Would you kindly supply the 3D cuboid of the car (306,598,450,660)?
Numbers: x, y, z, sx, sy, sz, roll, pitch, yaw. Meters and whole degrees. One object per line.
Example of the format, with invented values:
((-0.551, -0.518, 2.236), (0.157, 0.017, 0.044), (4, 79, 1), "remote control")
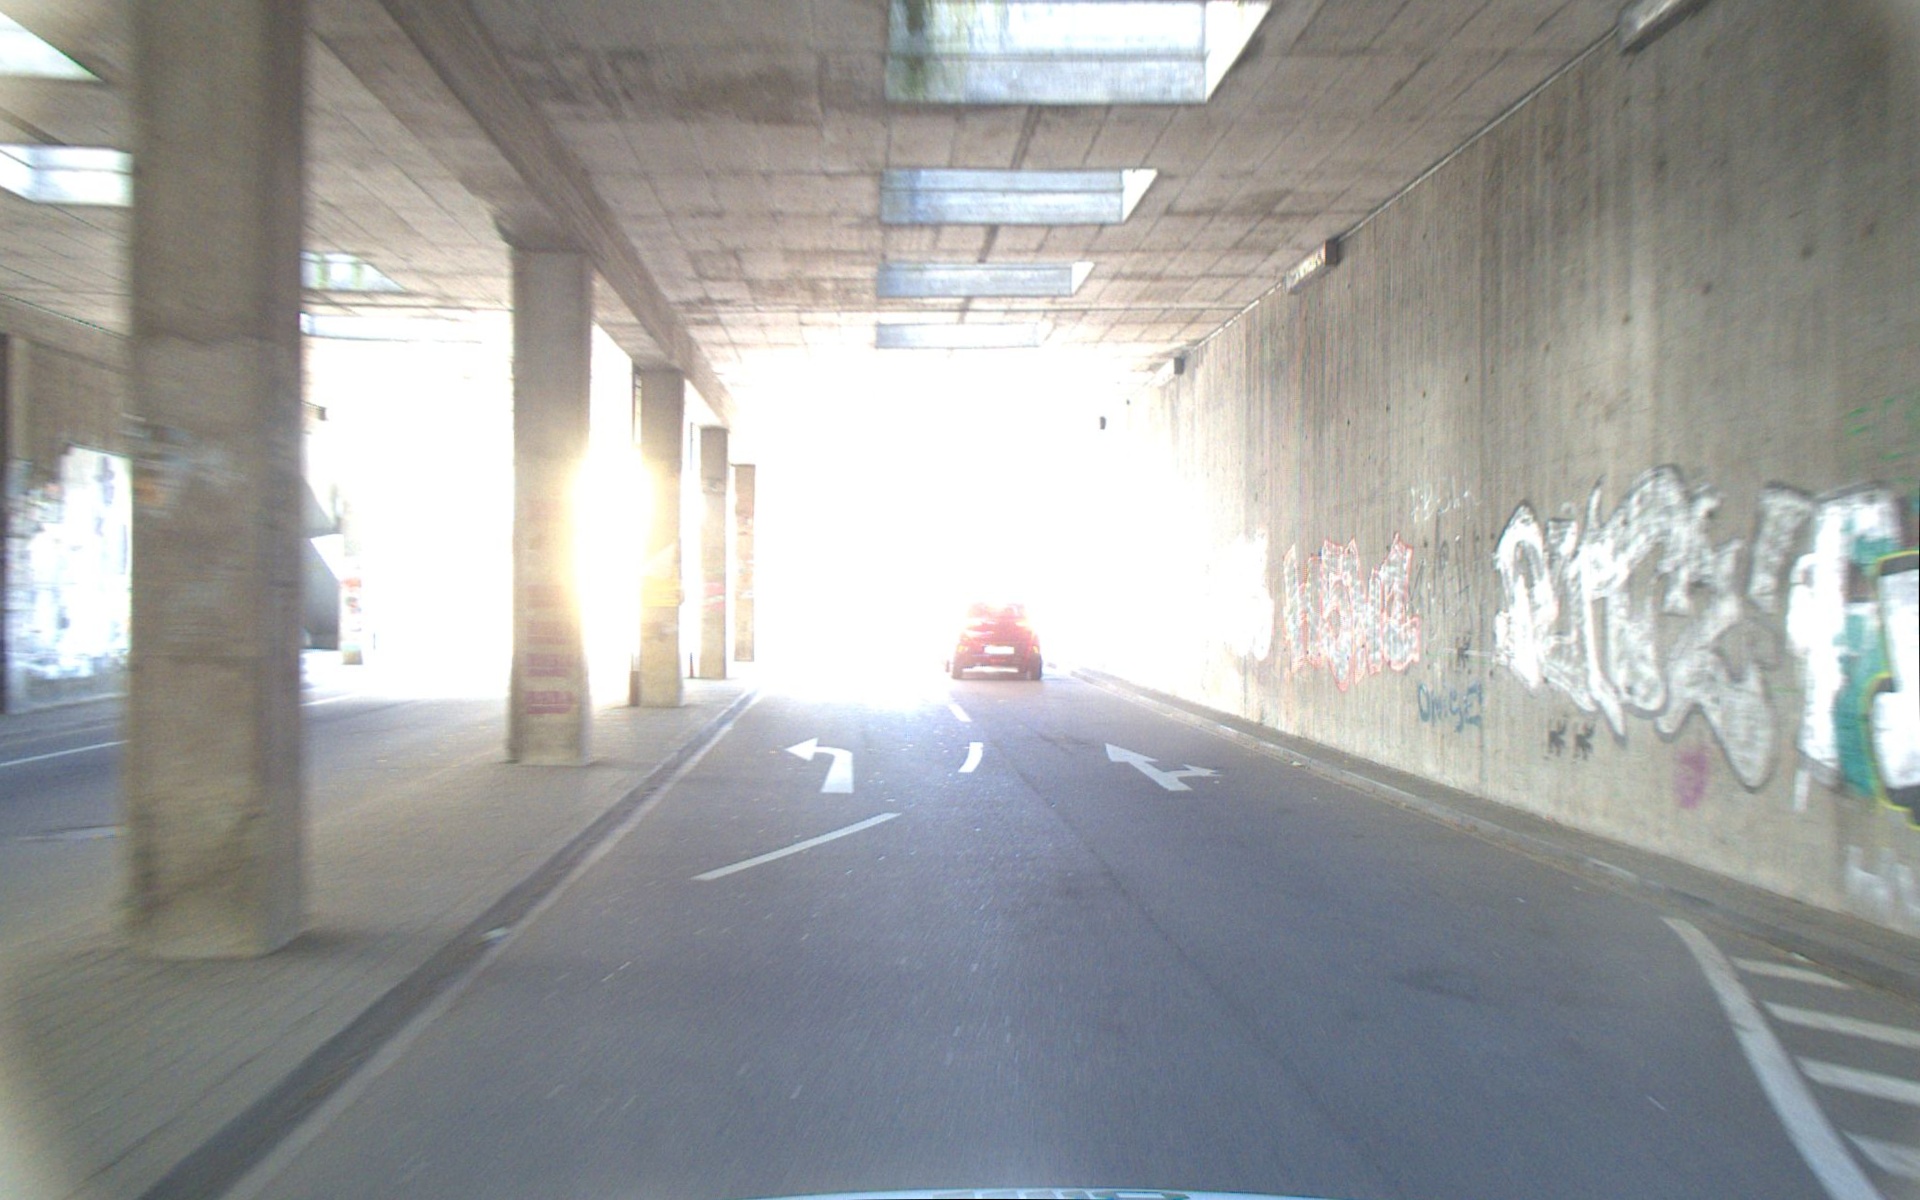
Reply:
((-20.508, 1.016, 58.398), (4.390, 2.048, 1.999), (0, 2, -4), "car")

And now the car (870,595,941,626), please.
((-3.233, 0.629, 99.390), (4.063, 1.769, 2.001), (0, 0, 4), "car")

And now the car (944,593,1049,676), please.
((0.659, 0.631, 32.659), (1.789, 1.527, 4.209), (0, 0, -3), "car")

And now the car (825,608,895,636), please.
((-5.753, 1.268, 95.075), (3.905, 1.601, 1.640), (0, 0, 0), "car")

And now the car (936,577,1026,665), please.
((0.442, 0.454, 38.919), (1.779, 1.915, 4.582), (0, 0, -3), "car")
